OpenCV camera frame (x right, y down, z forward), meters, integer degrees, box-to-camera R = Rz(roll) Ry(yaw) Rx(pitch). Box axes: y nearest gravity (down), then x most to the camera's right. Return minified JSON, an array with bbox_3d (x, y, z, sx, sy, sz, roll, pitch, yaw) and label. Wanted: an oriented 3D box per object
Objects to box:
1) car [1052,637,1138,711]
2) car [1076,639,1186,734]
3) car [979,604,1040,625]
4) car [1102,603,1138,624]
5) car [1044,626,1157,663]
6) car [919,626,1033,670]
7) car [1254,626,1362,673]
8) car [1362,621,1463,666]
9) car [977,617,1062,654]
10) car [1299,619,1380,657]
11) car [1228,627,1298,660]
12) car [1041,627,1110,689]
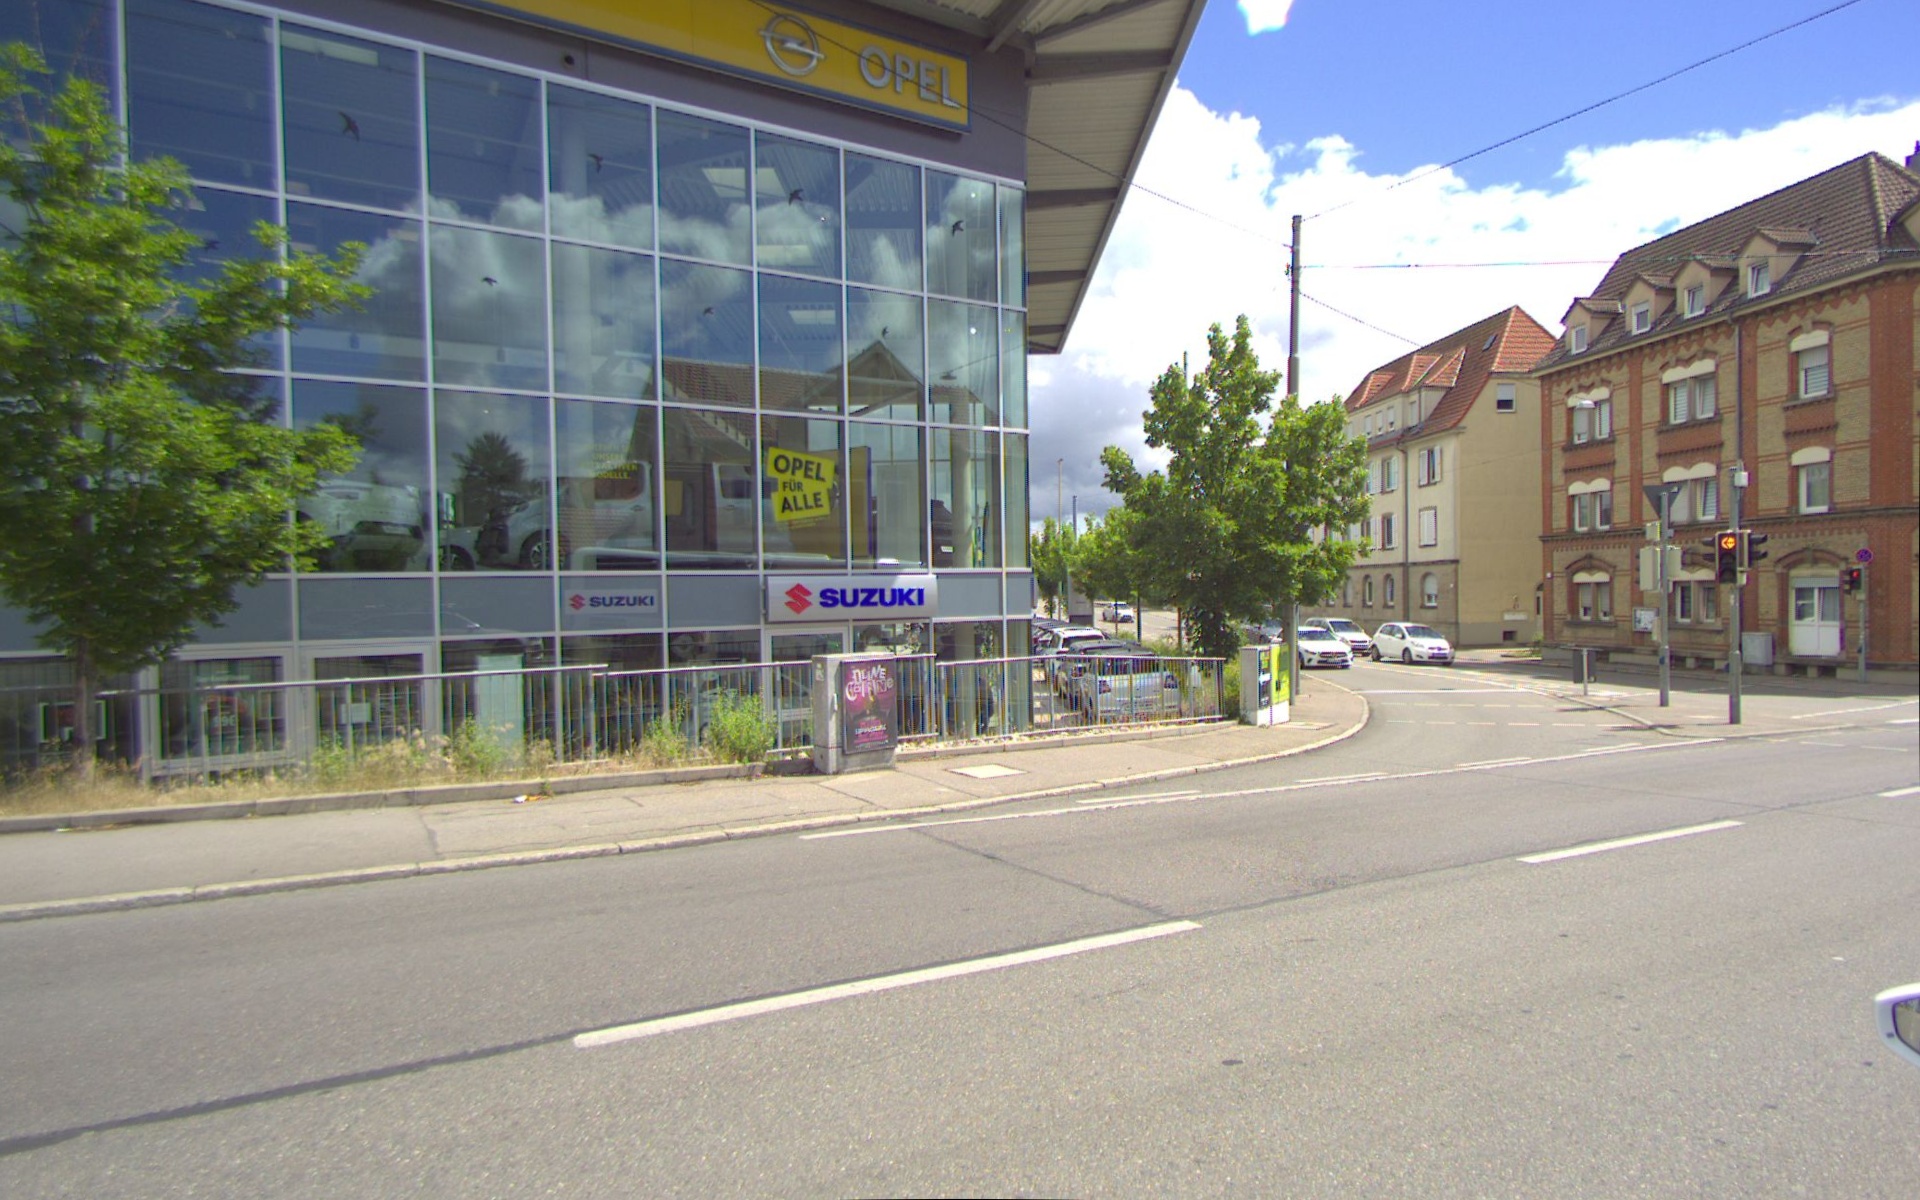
[{"bbox_3d":[3.231,1.755,24.698,1.487,1.543,3.792,1,-1,-2],"label":"car"},{"bbox_3d":[3.395,1.690,20.550,1.720,1.596,3.687,2,-1,3],"label":"car"},{"bbox_3d":[3.218,0.945,66.234,3.921,1.311,1.818,1,-1,0],"label":"car"},{"bbox_3d":[12.574,1.041,79.356,1.961,1.607,4.345,1,0,-2],"label":"car"},{"bbox_3d":[5.169,1.633,37.209,3.921,1.202,1.818,1,-1,0],"label":"car"},{"bbox_3d":[0.602,1.735,37.189,3.919,1.478,1.605,1,-1,15],"label":"car"},{"bbox_3d":[12.579,1.756,36.588,1.829,1.466,4.385,-3,-1,-9],"label":"car"},{"bbox_3d":[17.065,1.608,38.084,1.670,1.517,3.995,1,-1,-7],"label":"car"},{"bbox_3d":[2.652,1.585,45.867,1.974,1.599,4.476,1,-1,-26],"label":"car"},{"bbox_3d":[16.740,1.641,44.510,1.715,1.539,3.996,1,-1,-7],"label":"car"},{"bbox_3d":[15.338,2.184,51.016,1.963,1.539,3.996,1,-1,-7],"label":"car"},{"bbox_3d":[3.281,1.634,29.092,1.487,1.596,3.414,1,-1,-2],"label":"car"}]
